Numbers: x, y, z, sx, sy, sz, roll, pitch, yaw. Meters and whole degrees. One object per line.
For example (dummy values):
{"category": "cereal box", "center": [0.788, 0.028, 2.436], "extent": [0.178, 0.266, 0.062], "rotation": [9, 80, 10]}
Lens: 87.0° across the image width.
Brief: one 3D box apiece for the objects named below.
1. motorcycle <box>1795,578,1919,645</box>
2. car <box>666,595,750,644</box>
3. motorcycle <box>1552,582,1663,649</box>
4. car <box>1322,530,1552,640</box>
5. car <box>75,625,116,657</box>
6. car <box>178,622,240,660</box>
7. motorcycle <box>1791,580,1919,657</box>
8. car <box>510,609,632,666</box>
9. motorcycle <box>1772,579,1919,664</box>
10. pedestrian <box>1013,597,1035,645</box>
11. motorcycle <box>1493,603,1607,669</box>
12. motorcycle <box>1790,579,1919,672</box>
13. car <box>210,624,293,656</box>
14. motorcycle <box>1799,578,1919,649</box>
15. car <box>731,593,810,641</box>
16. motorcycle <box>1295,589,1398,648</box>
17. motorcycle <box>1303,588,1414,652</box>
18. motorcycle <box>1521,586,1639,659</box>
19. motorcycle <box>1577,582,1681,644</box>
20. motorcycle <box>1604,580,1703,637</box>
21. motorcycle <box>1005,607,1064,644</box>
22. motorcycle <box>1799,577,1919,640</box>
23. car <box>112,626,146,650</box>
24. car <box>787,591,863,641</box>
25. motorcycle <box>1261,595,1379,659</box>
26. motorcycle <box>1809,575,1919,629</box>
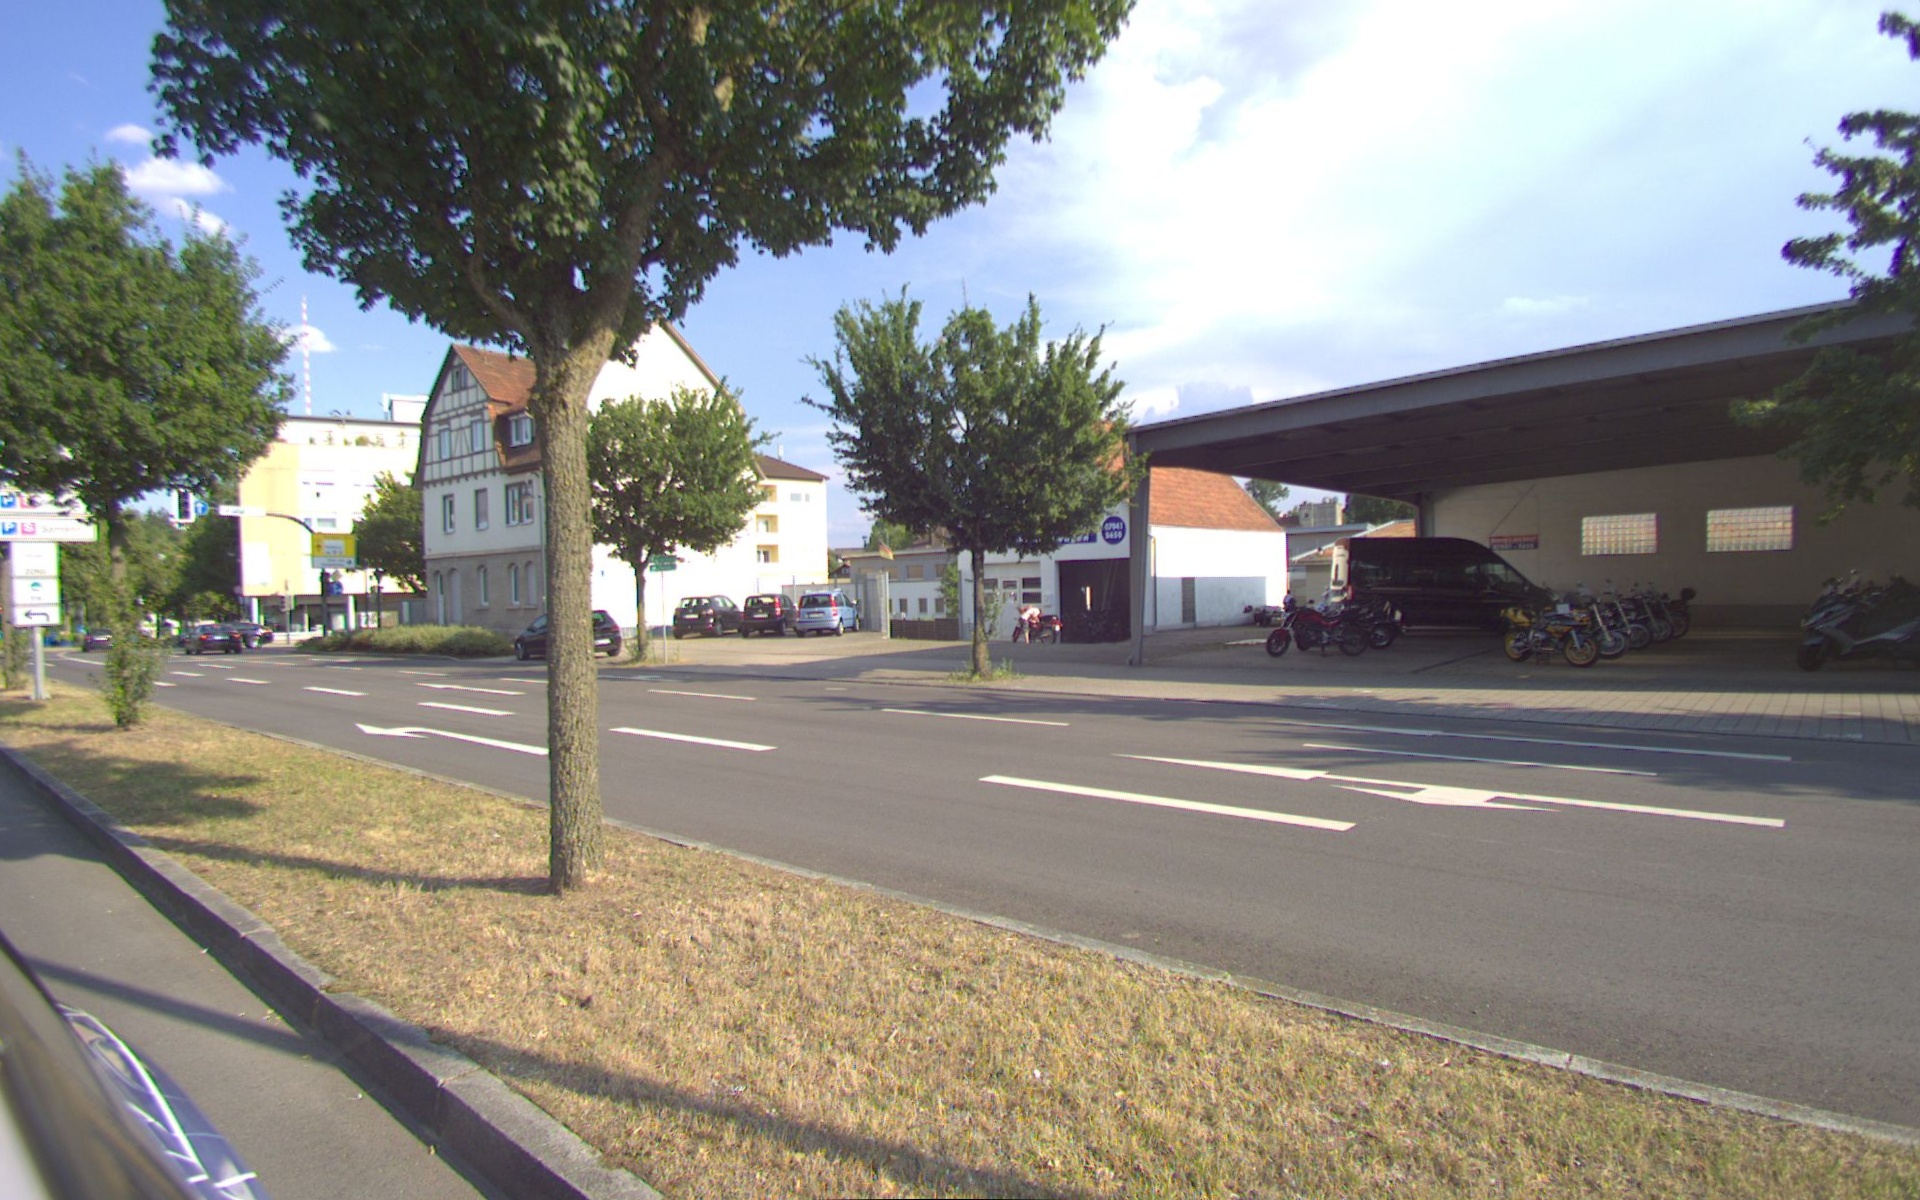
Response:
{"category": "motorcycle", "center": [19.037, 0.251, 21.294], "extent": [2.103, 1.306, 0.628], "rotation": [-3, -1, 17]}
{"category": "car", "center": [-9.320, 0.687, 37.704], "extent": [1.797, 1.512, 3.819], "rotation": [-3, 2, 5]}
{"category": "motorcycle", "center": [13.866, 0.320, 21.774], "extent": [0.621, 1.347, 2.269], "rotation": [-1, 0, -9]}
{"category": "car", "center": [12.868, -0.383, 27.633], "extent": [5.221, 2.773, 1.996], "rotation": [-1, 0, 7]}
{"category": "car", "center": [-50.503, 2.352, 59.113], "extent": [1.755, 1.706, 4.006], "rotation": [-1, 0, -41]}
{"category": "car", "center": [-35.588, 1.899, 47.925], "extent": [4.002, 1.706, 1.757], "rotation": [-1, 0, 45]}
{"category": "motorcycle", "center": [16.533, 0.335, 18.353], "extent": [2.103, 1.306, 0.628], "rotation": [-3, -1, 17]}
{"category": "car", "center": [-11.598, 1.079, 30.081], "extent": [3.823, 1.462, 1.795], "rotation": [-1, 2, 42]}
{"category": "motorcycle", "center": [14.915, 0.357, 16.781], "extent": [2.103, 1.306, 0.628], "rotation": [-3, -1, 17]}
{"category": "pedestrian", "center": [2.074, 0.671, 32.769], "extent": [0.485, 1.530, 0.496], "rotation": [-1, 0, 41]}
{"category": "motorcycle", "center": [10.533, 0.615, 18.156], "extent": [0.621, 1.095, 2.038], "rotation": [-1, 0, -7]}
{"category": "motorcycle", "center": [13.863, 0.371, 15.120], "extent": [2.103, 1.306, 0.628], "rotation": [-3, -1, 17]}
{"category": "car", "center": [-42.058, 2.348, 60.102], "extent": [3.935, 1.687, 1.791], "rotation": [-1, 0, -38]}
{"category": "motorcycle", "center": [18.047, 0.264, 19.993], "extent": [2.103, 1.306, 0.628], "rotation": [-3, -1, 17]}
{"category": "car", "center": [-6.919, 0.583, 37.312], "extent": [1.797, 1.512, 3.819], "rotation": [-3, 2, 5]}
{"category": "motorcycle", "center": [9.381, 0.448, 24.612], "extent": [2.198, 1.372, 0.630], "rotation": [-1, 0, 5]}
{"category": "motorcycle", "center": [8.959, 0.446, 22.809], "extent": [2.198, 1.372, 0.630], "rotation": [-1, 0, 5]}
{"category": "motorcycle", "center": [12.161, 0.433, 19.961], "extent": [0.621, 1.347, 2.269], "rotation": [-1, 0, -9]}
{"category": "motorcycle", "center": [15.539, 0.297, 23.584], "extent": [0.621, 1.347, 2.269], "rotation": [-1, 0, -9]}
{"category": "motorcycle", "center": [17.293, 0.214, 25.308], "extent": [0.621, 1.347, 2.269], "rotation": [-1, 0, -9]}
{"category": "motorcycle", "center": [2.436, 0.835, 33.215], "extent": [1.974, 1.194, 0.577], "rotation": [-1, 0, 41]}
{"category": "motorcycle", "center": [20.230, 0.201, 22.649], "extent": [2.103, 1.306, 0.628], "rotation": [-3, -1, 17]}
{"category": "car", "center": [-63.822, 2.898, 77.796], "extent": [1.753, 1.706, 4.009], "rotation": [-1, 0, -36]}
{"category": "car", "center": [-4.680, 0.517, 35.682], "extent": [1.797, 1.512, 3.819], "rotation": [-3, 2, 5]}
{"category": "motorcycle", "center": [7.499, 0.558, 21.165], "extent": [2.202, 1.290, 0.629], "rotation": [-1, 0, 11]}
{"category": "motorcycle", "center": [23.736, 0.066, 26.526], "extent": [2.103, 1.306, 0.628], "rotation": [-3, -1, 17]}
